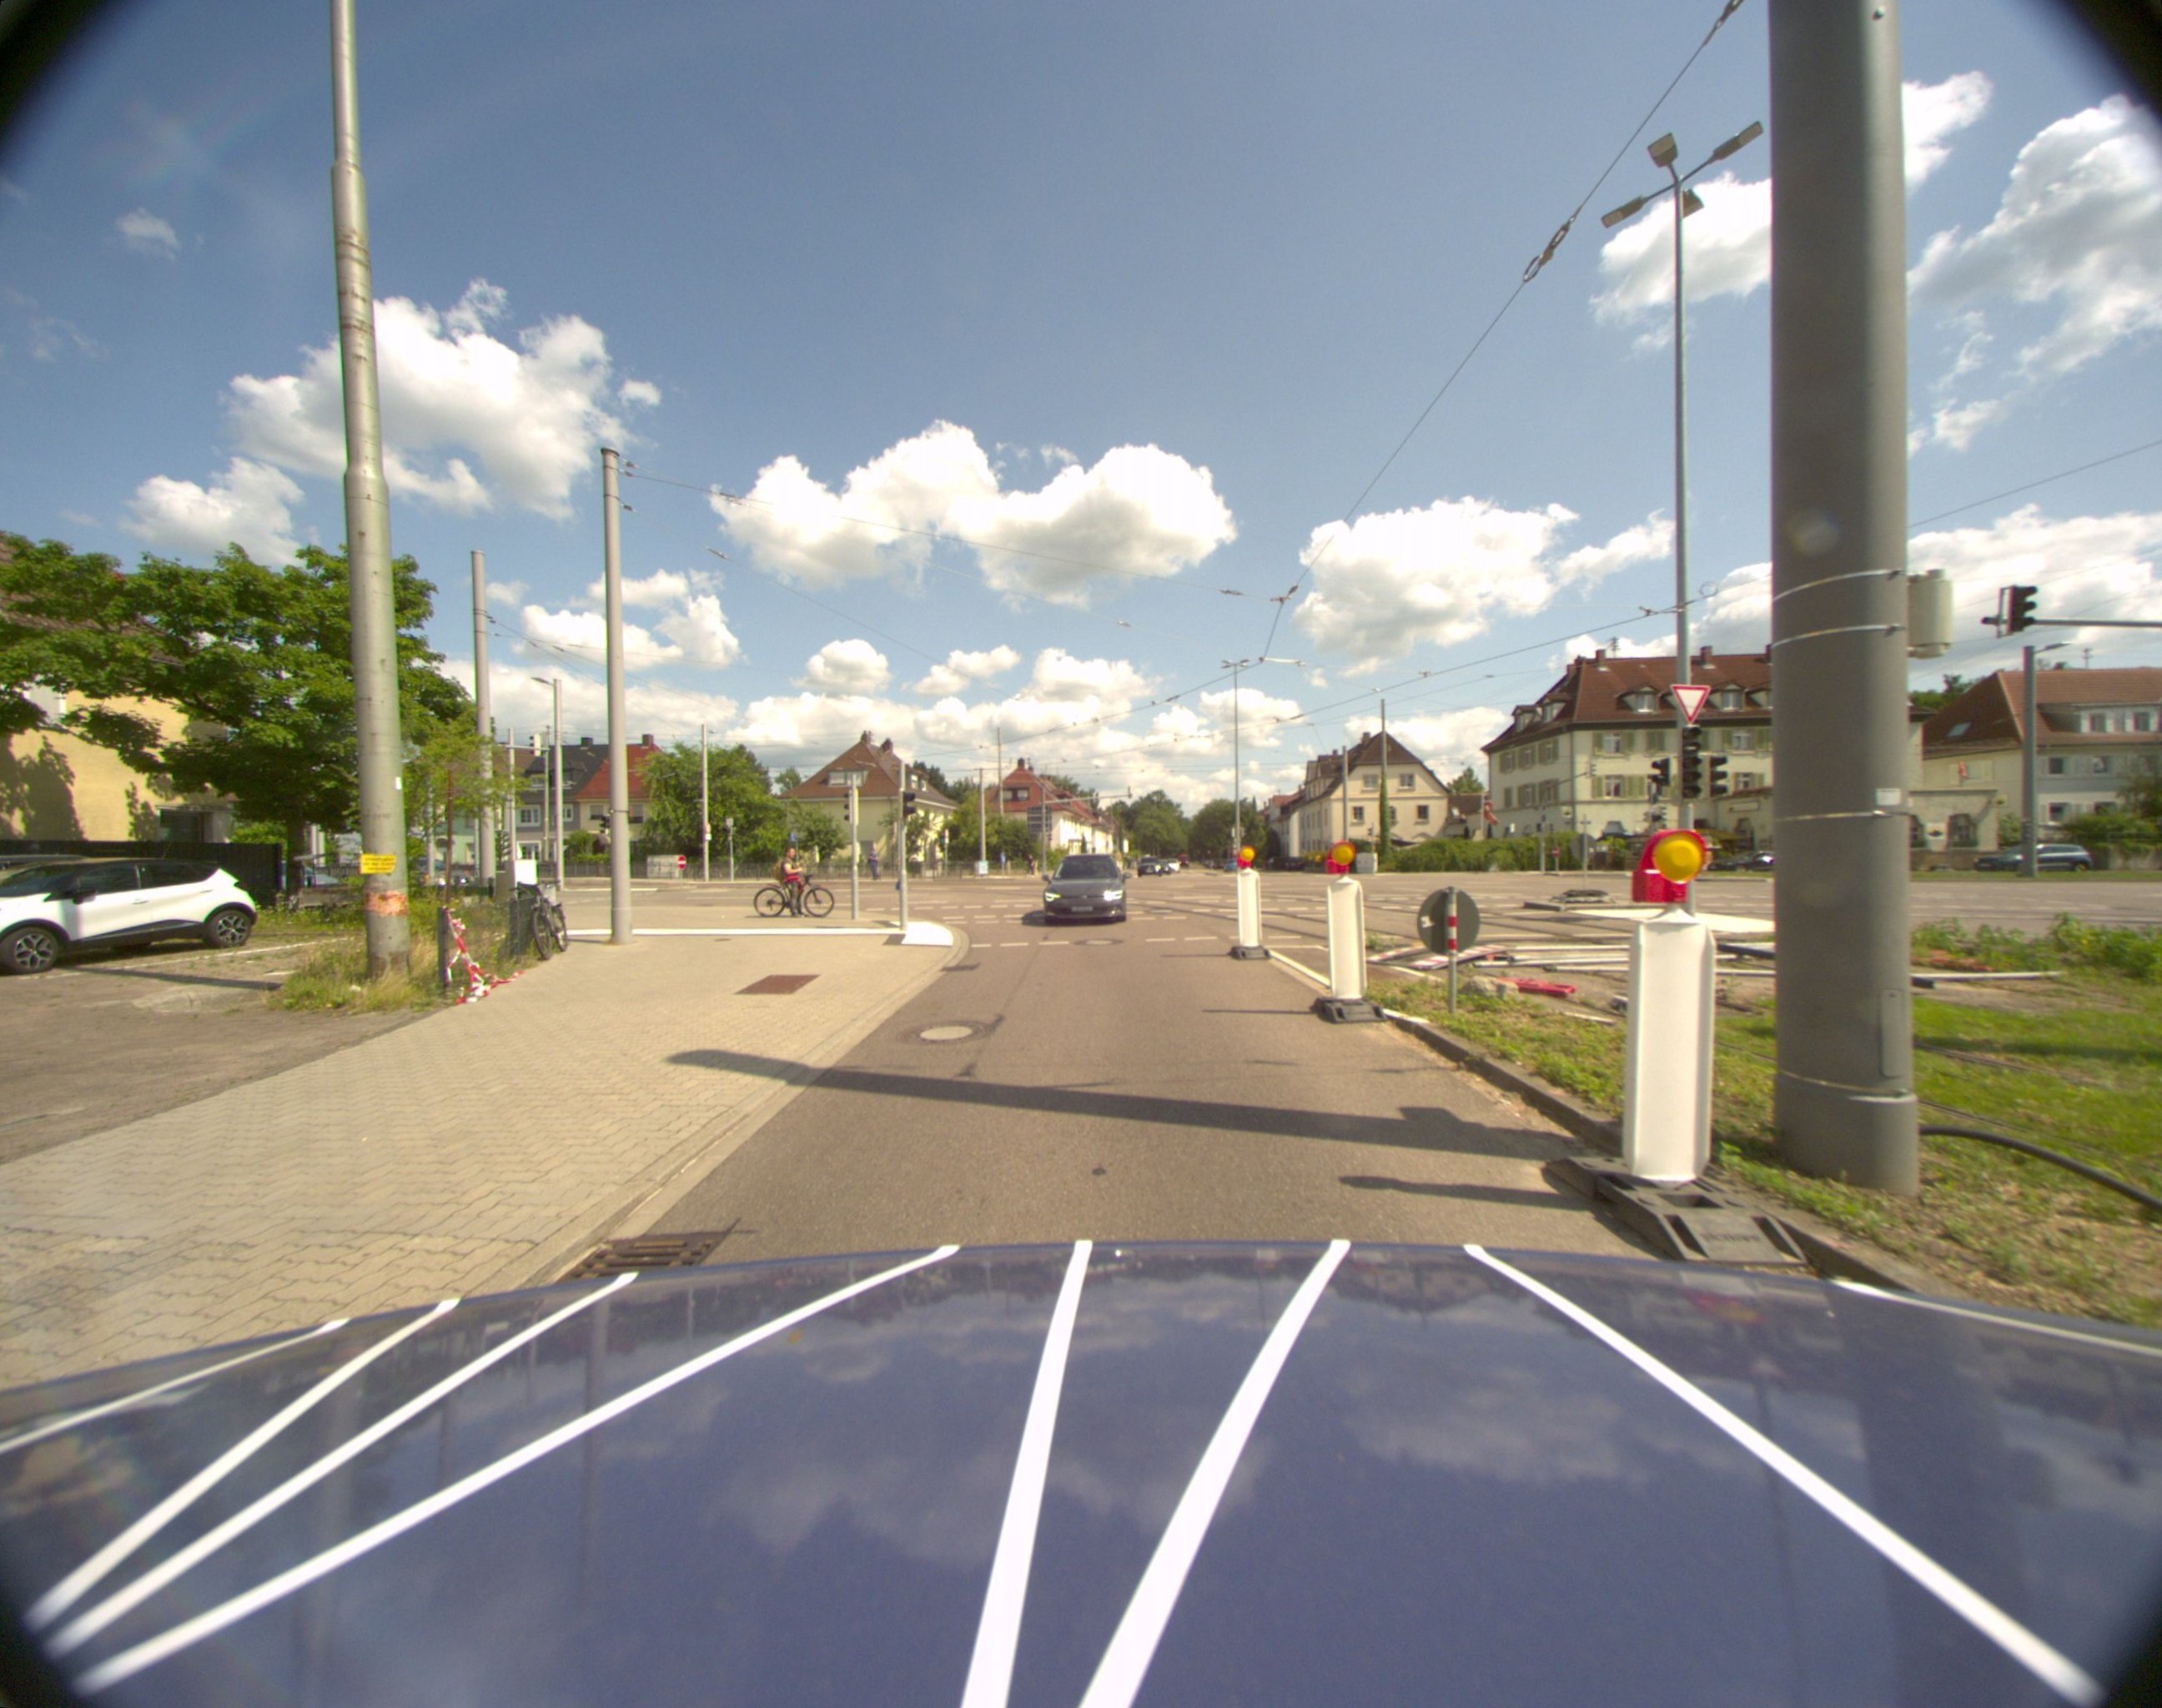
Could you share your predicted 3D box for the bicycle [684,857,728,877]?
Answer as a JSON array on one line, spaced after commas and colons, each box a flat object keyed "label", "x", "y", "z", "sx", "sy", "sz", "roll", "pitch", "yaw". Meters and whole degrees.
[{"label": "bicycle", "x": -26.537, "y": 0.926, "z": 53.761, "sx": 2.800, "sy": 1.326, "sz": 0.623, "roll": -1, "pitch": 0, "yaw": -1}]

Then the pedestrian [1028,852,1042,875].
[{"label": "pedestrian", "x": -3.541, "y": 0.699, "z": 58.492, "sx": 0.591, "sy": 1.757, "sz": 0.939, "roll": 0, "pitch": 0, "yaw": 38}]

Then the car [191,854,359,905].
[{"label": "car", "x": -28.108, "y": 0.873, "z": 26.576, "sx": 3.995, "sy": 1.682, "sz": 1.940, "roll": -1, "pitch": 0, "yaw": 5}]

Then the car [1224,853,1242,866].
[{"label": "car", "x": 17.482, "y": 0.604, "z": 87.424, "sx": 1.708, "sy": 1.454, "sz": 3.156, "roll": -1, "pitch": 0, "yaw": 7}]

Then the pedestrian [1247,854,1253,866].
[{"label": "pedestrian", "x": 22.143, "y": 0.742, "z": 99.707, "sx": 0.631, "sy": 1.526, "sz": 0.618, "roll": -1, "pitch": 0, "yaw": 3}]

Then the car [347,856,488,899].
[{"label": "car", "x": -25.844, "y": 0.902, "z": 29.671, "sx": 3.995, "sy": 1.559, "sz": 1.843, "roll": -1, "pitch": 0, "yaw": 5}]

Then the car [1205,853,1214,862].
[{"label": "car", "x": 22.710, "y": 0.644, "z": 134.010, "sx": 1.561, "sy": 1.645, "sz": 3.253, "roll": -1, "pitch": 0, "yaw": 10}]

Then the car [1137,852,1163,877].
[{"label": "car", "x": 5.453, "y": 0.763, "z": 59.529, "sx": 1.775, "sy": 1.754, "sz": 4.876, "roll": -2, "pitch": 1, "yaw": 7}]

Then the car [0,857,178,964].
[{"label": "car", "x": -18.035, "y": 0.934, "z": 12.407, "sx": 1.827, "sy": 1.612, "sz": 3.998, "roll": -1, "pitch": 2, "yaw": -3}]

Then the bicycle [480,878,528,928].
[{"label": "bicycle", "x": -14.034, "y": 1.164, "z": 18.456, "sx": 0.704, "sy": 1.098, "sz": 1.803, "roll": -1, "pitch": 1, "yaw": -44}]

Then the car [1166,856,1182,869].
[{"label": "car", "x": 10.221, "y": 0.921, "z": 83.687, "sx": 1.708, "sy": 1.454, "sz": 3.156, "roll": -1, "pitch": 0, "yaw": 8}]

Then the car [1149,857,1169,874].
[{"label": "car", "x": 7.206, "y": 1.030, "z": 69.913, "sx": 1.708, "sy": 1.454, "sz": 3.156, "roll": -1, "pitch": 0, "yaw": 6}]

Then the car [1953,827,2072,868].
[{"label": "car", "x": 48.343, "y": -0.346, "z": 39.513, "sx": 3.711, "sy": 2.002, "sz": 1.905, "roll": -1, "pitch": 1, "yaw": 3}]

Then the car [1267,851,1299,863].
[{"label": "car", "x": 25.387, "y": 0.386, "z": 95.576, "sx": 3.803, "sy": 1.445, "sz": 1.712, "roll": -1, "pitch": 0, "yaw": 10}]

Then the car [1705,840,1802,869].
[{"label": "car", "x": 38.282, "y": 0.010, "z": 43.330, "sx": 3.921, "sy": 1.574, "sz": 1.748, "roll": -1, "pitch": 0, "yaw": 3}]

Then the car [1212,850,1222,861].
[{"label": "car", "x": 21.216, "y": 0.295, "z": 118.671, "sx": 1.561, "sy": 1.645, "sz": 3.576, "roll": -1, "pitch": 0, "yaw": 10}]

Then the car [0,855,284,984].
[{"label": "car", "x": -15.280, "y": 0.885, "z": 11.699, "sx": 1.827, "sy": 1.612, "sz": 3.998, "roll": -1, "pitch": 2, "yaw": -3}]

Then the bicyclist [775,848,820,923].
[{"label": "bicyclist", "x": -6.917, "y": 0.753, "z": 18.557, "sx": 0.961, "sy": 1.765, "sz": 0.718, "roll": -1, "pitch": 1, "yaw": -19}]

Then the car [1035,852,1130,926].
[{"label": "car", "x": 0.179, "y": 0.712, "z": 17.656, "sx": 1.765, "sy": 1.465, "sz": 4.689, "roll": -1, "pitch": 0, "yaw": 5}]

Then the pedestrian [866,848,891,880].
[{"label": "pedestrian", "x": -11.170, "y": 0.550, "z": 42.031, "sx": 1.032, "sy": 1.724, "sz": 1.041, "roll": -1, "pitch": 0, "yaw": 3}]

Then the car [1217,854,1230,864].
[{"label": "car", "x": 19.677, "y": 0.684, "z": 105.228, "sx": 1.708, "sy": 1.288, "sz": 3.921, "roll": -1, "pitch": 0, "yaw": 10}]

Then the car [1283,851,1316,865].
[{"label": "car", "x": 21.948, "y": 0.407, "z": 76.229, "sx": 1.757, "sy": 1.378, "sz": 4.111, "roll": -1, "pitch": 0, "yaw": 37}]

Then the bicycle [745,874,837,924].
[{"label": "bicycle", "x": -7.030, "y": 1.078, "z": 18.515, "sx": 2.035, "sy": 1.095, "sz": 0.714, "roll": -1, "pitch": 1, "yaw": -20}]

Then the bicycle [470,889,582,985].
[{"label": "bicycle", "x": -7.778, "y": 1.103, "z": 10.770, "sx": 0.595, "sy": 1.090, "sz": 2.273, "roll": -1, "pitch": 1, "yaw": -18}]
